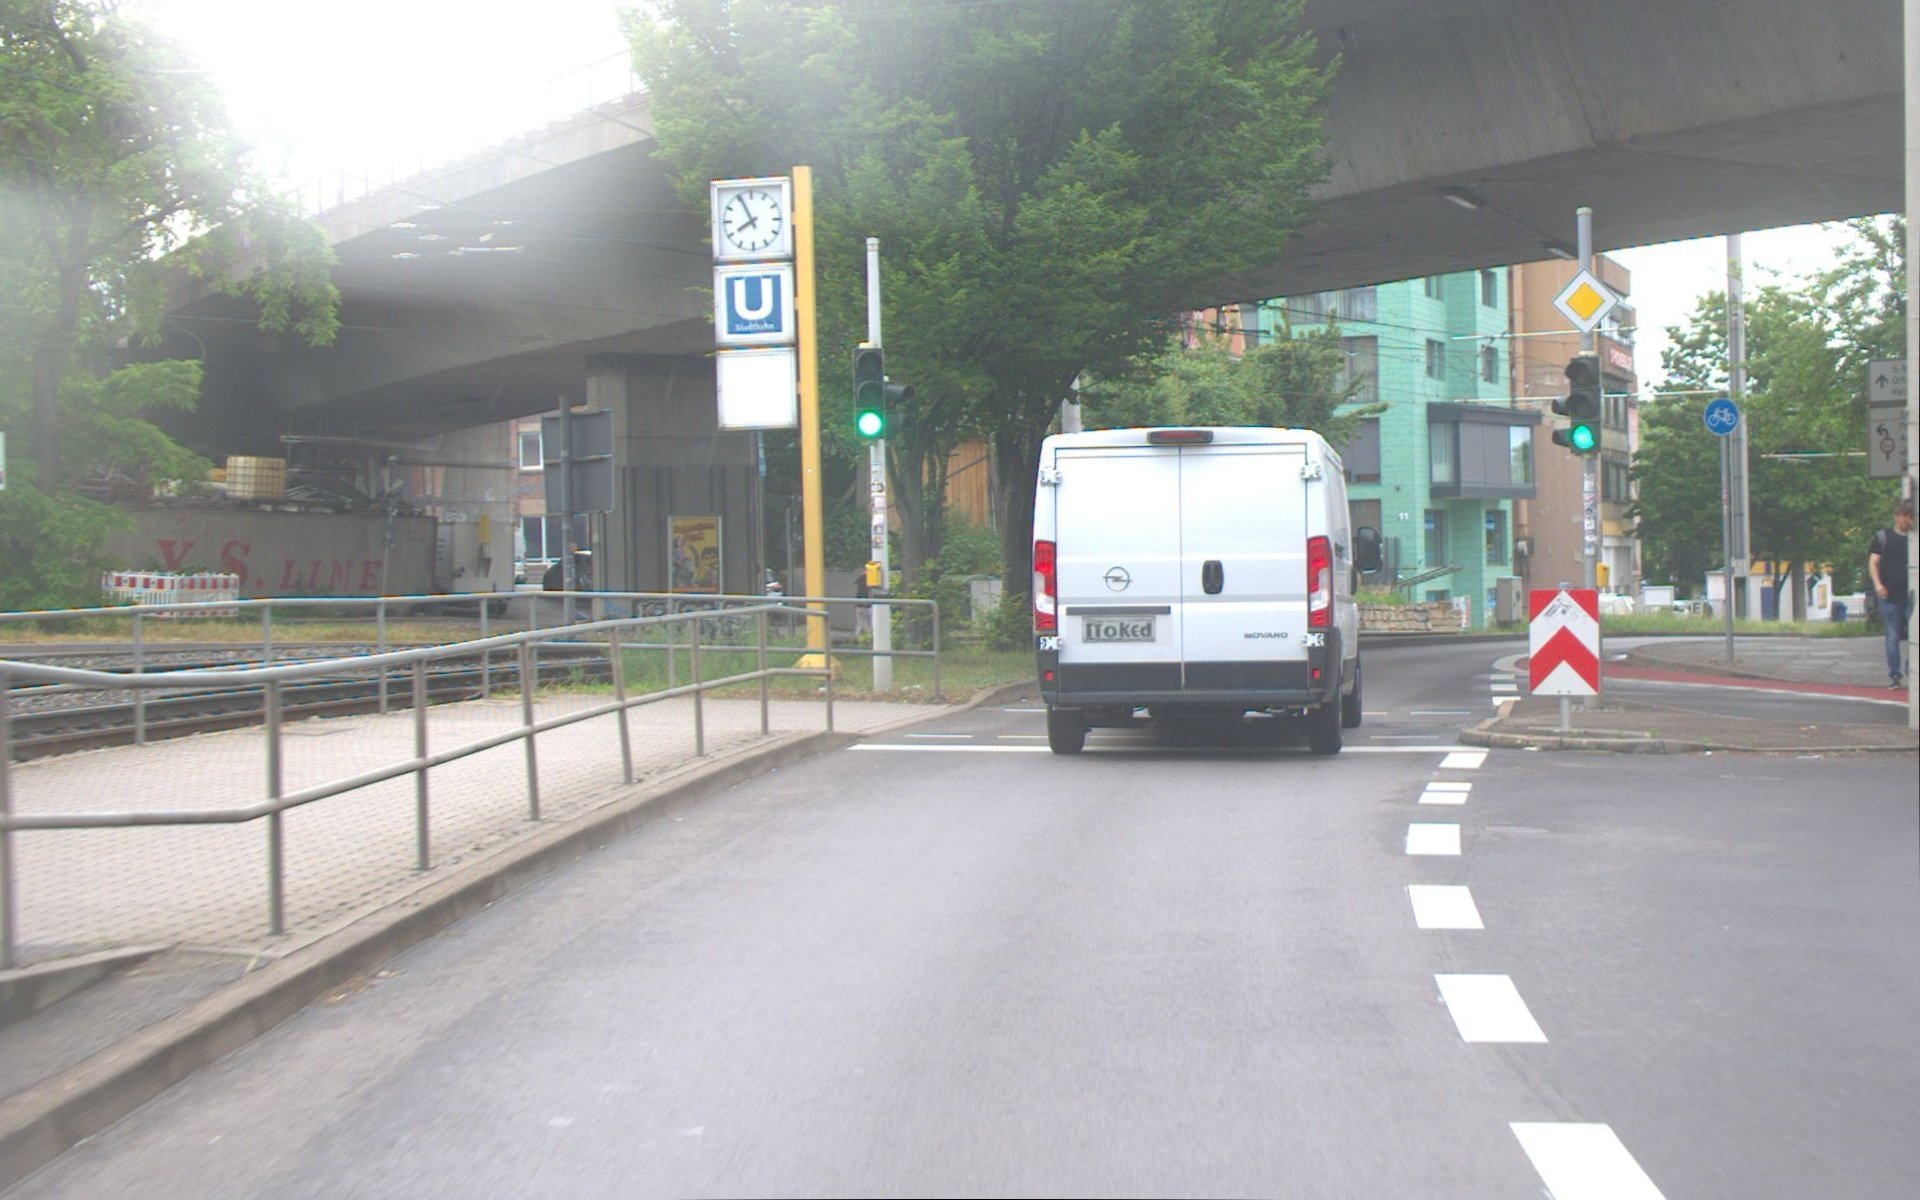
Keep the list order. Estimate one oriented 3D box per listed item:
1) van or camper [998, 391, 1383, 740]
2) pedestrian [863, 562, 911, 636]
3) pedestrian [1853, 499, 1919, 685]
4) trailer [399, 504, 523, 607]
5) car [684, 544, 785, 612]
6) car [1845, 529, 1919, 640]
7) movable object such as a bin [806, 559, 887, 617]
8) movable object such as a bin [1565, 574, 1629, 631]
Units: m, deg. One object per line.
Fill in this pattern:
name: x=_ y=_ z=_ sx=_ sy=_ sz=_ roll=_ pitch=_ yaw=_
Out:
van or camper: x=1.791 y=-0.226 z=24.959 sx=2.200 sy=2.245 sz=4.682 roll=2 pitch=0 yaw=11
pedestrian: x=-1.641 y=-0.030 z=77.451 sx=0.695 sy=1.664 sz=0.886 roll=1 pitch=1 yaw=32
pedestrian: x=9.178 y=-0.076 z=33.851 sx=0.626 sy=1.802 sz=0.835 roll=2 pitch=0 yaw=10
trailer: x=-13.509 y=-1.179 z=92.918 sx=1.993 sy=2.716 sz=4.124 roll=1 pitch=0 yaw=-28
car: x=-6.072 y=-0.608 z=92.376 sx=1.713 sy=1.662 sz=3.199 roll=2 pitch=2 yaw=-23
car: x=14.486 y=-0.220 z=48.524 sx=3.724 sy=1.517 sz=1.802 roll=0 pitch=0 yaw=-32
movable object such as a bin: x=-3.043 y=-0.331 z=91.963 sx=1.556 sy=1.474 sz=1.803 roll=0 pitch=2 yaw=-26
movable object such as a bin: x=24.842 y=0.090 z=134.022 sx=2.136 sy=2.149 sz=1.800 roll=2 pitch=1 yaw=20
